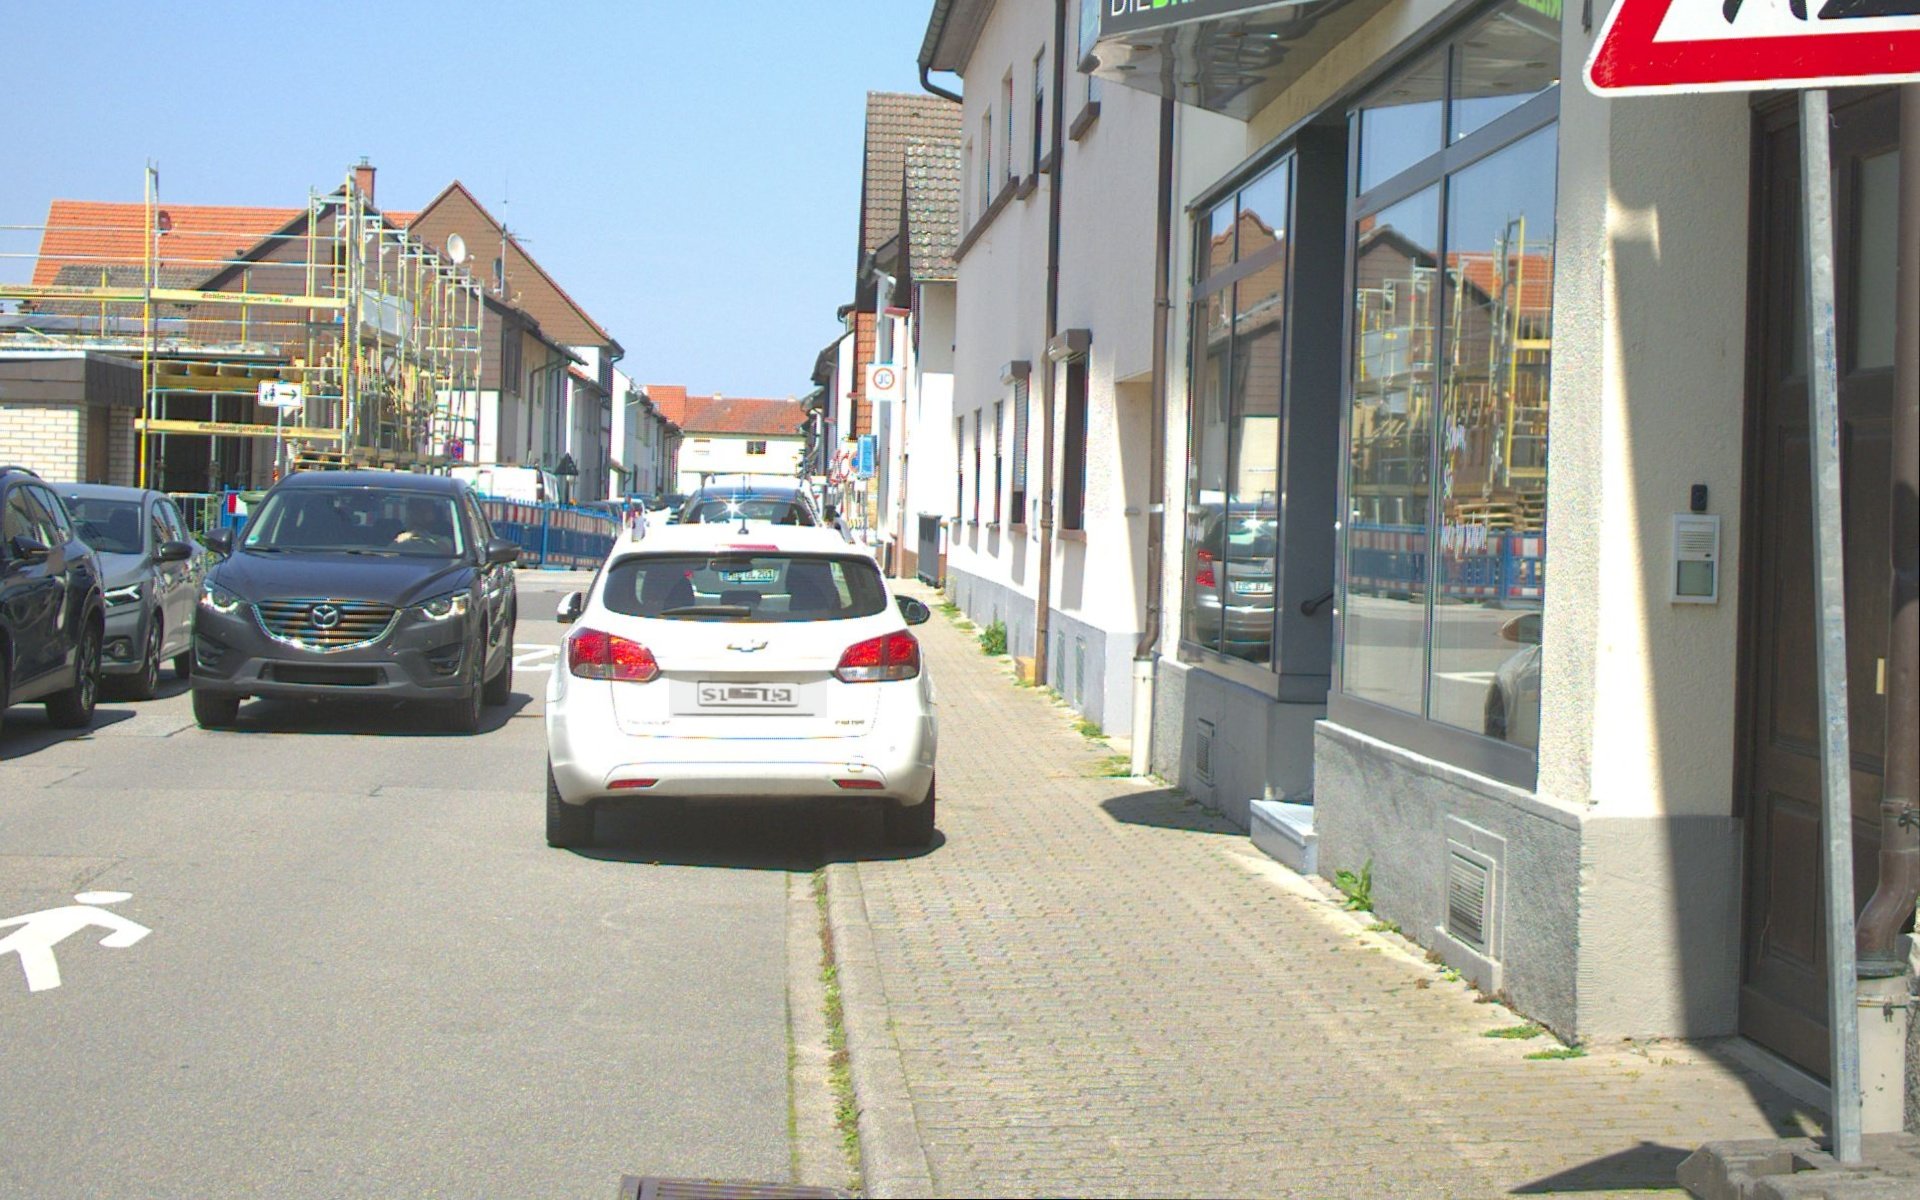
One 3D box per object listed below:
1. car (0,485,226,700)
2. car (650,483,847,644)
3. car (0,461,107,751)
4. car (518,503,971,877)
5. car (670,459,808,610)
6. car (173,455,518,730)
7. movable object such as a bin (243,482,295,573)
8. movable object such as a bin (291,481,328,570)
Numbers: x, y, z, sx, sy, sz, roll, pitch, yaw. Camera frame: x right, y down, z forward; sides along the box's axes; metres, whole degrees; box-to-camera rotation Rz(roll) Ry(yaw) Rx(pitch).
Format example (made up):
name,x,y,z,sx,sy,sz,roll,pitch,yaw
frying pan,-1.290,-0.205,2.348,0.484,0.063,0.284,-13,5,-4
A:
name,x,y,z,sx,sy,sz,roll,pitch,yaw
car,-6.487,-0.103,25.704,1.436,1.469,3.787,1,1,-4
car,-2.305,-0.435,36.642,1.884,1.550,3.895,-2,2,-6
car,-6.353,-0.026,20.275,1.826,1.625,4.218,2,2,-4
car,-1.112,0.332,16.832,1.886,1.536,4.244,2,2,-5
car,-2.677,-0.832,41.802,1.564,1.607,3.544,2,4,-3
car,-4.096,-0.110,23.506,1.881,1.662,4.154,2,2,-5
movable object such as a bin,-9.008,-0.947,44.832,0.621,1.151,0.677,2,2,-10
movable object such as a bin,-8.576,-0.986,45.334,0.431,1.151,0.364,1,2,-13
